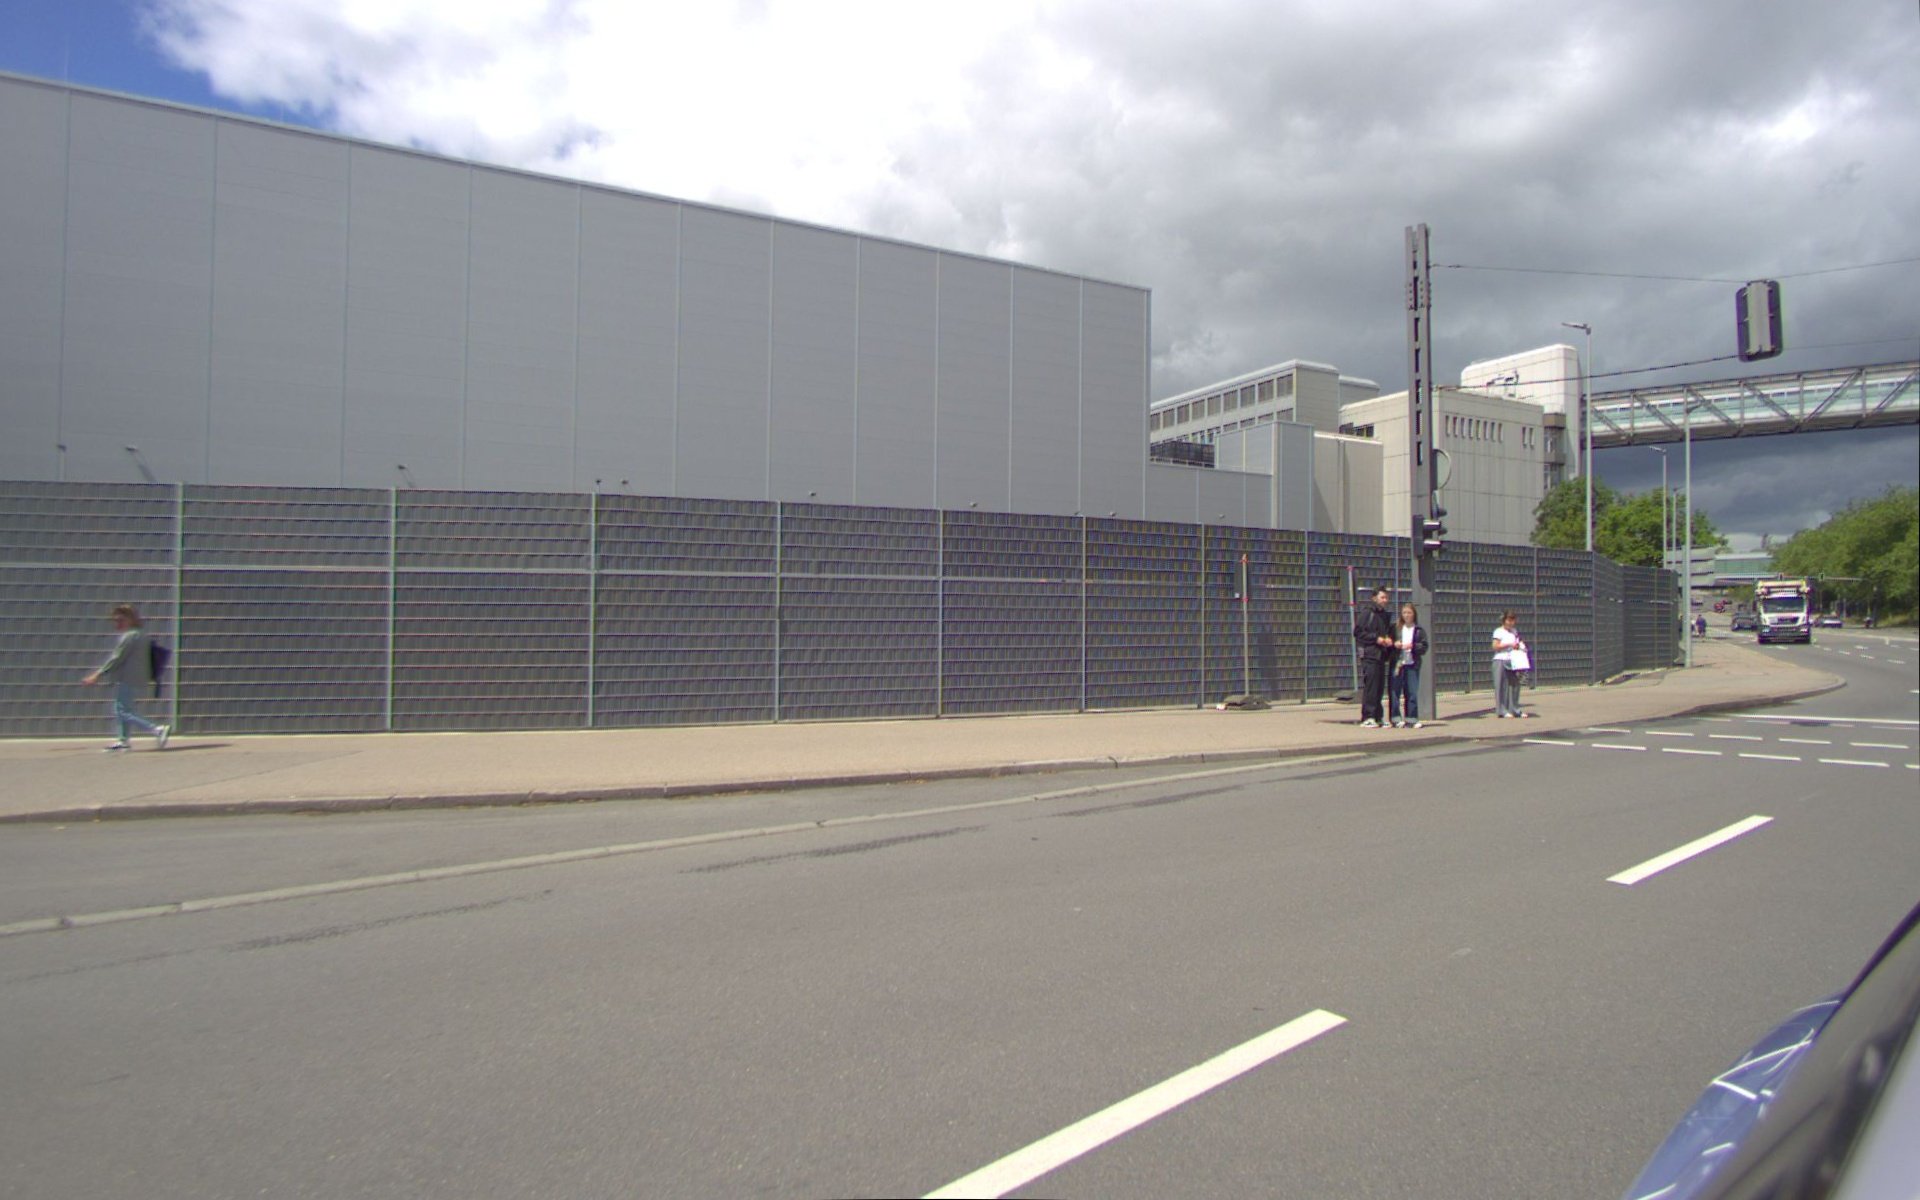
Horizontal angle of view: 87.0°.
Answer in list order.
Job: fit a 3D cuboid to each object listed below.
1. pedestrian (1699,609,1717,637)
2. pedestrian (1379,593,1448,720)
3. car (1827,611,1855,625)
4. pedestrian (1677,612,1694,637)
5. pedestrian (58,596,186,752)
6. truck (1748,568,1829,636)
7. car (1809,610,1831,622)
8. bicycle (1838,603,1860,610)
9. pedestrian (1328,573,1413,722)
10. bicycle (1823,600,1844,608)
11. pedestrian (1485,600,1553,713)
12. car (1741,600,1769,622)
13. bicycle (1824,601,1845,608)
[{"bbox_3d":[47.060,1.439,63.645,0.791,1.742,0.724,-2,-1,31],"label":"pedestrian"},{"bbox_3d":[5.963,0.729,13.329,0.650,1.636,0.465,-1,-1,1],"label":"pedestrian"},{"bbox_3d":[101.228,2.095,116.344,1.872,1.524,4.138,2,1,34],"label":"car"},{"bbox_3d":[47.052,1.579,65.605,0.791,1.617,0.723,-2,-1,32],"label":"pedestrian"},{"bbox_3d":[-9.076,0.774,10.998,0.902,1.606,0.696,-1,-1,-23],"label":"pedestrian"},{"bbox_3d":[52.048,0.092,63.835,2.695,3.935,10.614,-2,-1,33],"label":"truck"},{"bbox_3d":[108.981,2.035,128.239,1.686,1.432,4.094,2,1,34],"label":"car"},{"bbox_3d":[137.228,1.003,156.228,2.552,1.099,0.607,-2,-1,41],"label":"bicycle"},{"bbox_3d":[5.381,0.608,13.308,0.778,1.890,0.662,-1,-1,-3],"label":"pedestrian"},{"bbox_3d":[143.938,0.699,166.785,2.547,1.193,0.608,-2,-1,36],"label":"bicycle"},{"bbox_3d":[8.387,0.819,15.176,0.809,1.628,0.660,0,-1,-44],"label":"pedestrian"},{"bbox_3d":[77.873,1.043,99.147,1.861,1.980,4.652,-3,-1,35],"label":"car"},{"bbox_3d":[143.419,0.747,166.023,2.547,1.193,0.608,-2,-1,36],"label":"bicycle"}]
